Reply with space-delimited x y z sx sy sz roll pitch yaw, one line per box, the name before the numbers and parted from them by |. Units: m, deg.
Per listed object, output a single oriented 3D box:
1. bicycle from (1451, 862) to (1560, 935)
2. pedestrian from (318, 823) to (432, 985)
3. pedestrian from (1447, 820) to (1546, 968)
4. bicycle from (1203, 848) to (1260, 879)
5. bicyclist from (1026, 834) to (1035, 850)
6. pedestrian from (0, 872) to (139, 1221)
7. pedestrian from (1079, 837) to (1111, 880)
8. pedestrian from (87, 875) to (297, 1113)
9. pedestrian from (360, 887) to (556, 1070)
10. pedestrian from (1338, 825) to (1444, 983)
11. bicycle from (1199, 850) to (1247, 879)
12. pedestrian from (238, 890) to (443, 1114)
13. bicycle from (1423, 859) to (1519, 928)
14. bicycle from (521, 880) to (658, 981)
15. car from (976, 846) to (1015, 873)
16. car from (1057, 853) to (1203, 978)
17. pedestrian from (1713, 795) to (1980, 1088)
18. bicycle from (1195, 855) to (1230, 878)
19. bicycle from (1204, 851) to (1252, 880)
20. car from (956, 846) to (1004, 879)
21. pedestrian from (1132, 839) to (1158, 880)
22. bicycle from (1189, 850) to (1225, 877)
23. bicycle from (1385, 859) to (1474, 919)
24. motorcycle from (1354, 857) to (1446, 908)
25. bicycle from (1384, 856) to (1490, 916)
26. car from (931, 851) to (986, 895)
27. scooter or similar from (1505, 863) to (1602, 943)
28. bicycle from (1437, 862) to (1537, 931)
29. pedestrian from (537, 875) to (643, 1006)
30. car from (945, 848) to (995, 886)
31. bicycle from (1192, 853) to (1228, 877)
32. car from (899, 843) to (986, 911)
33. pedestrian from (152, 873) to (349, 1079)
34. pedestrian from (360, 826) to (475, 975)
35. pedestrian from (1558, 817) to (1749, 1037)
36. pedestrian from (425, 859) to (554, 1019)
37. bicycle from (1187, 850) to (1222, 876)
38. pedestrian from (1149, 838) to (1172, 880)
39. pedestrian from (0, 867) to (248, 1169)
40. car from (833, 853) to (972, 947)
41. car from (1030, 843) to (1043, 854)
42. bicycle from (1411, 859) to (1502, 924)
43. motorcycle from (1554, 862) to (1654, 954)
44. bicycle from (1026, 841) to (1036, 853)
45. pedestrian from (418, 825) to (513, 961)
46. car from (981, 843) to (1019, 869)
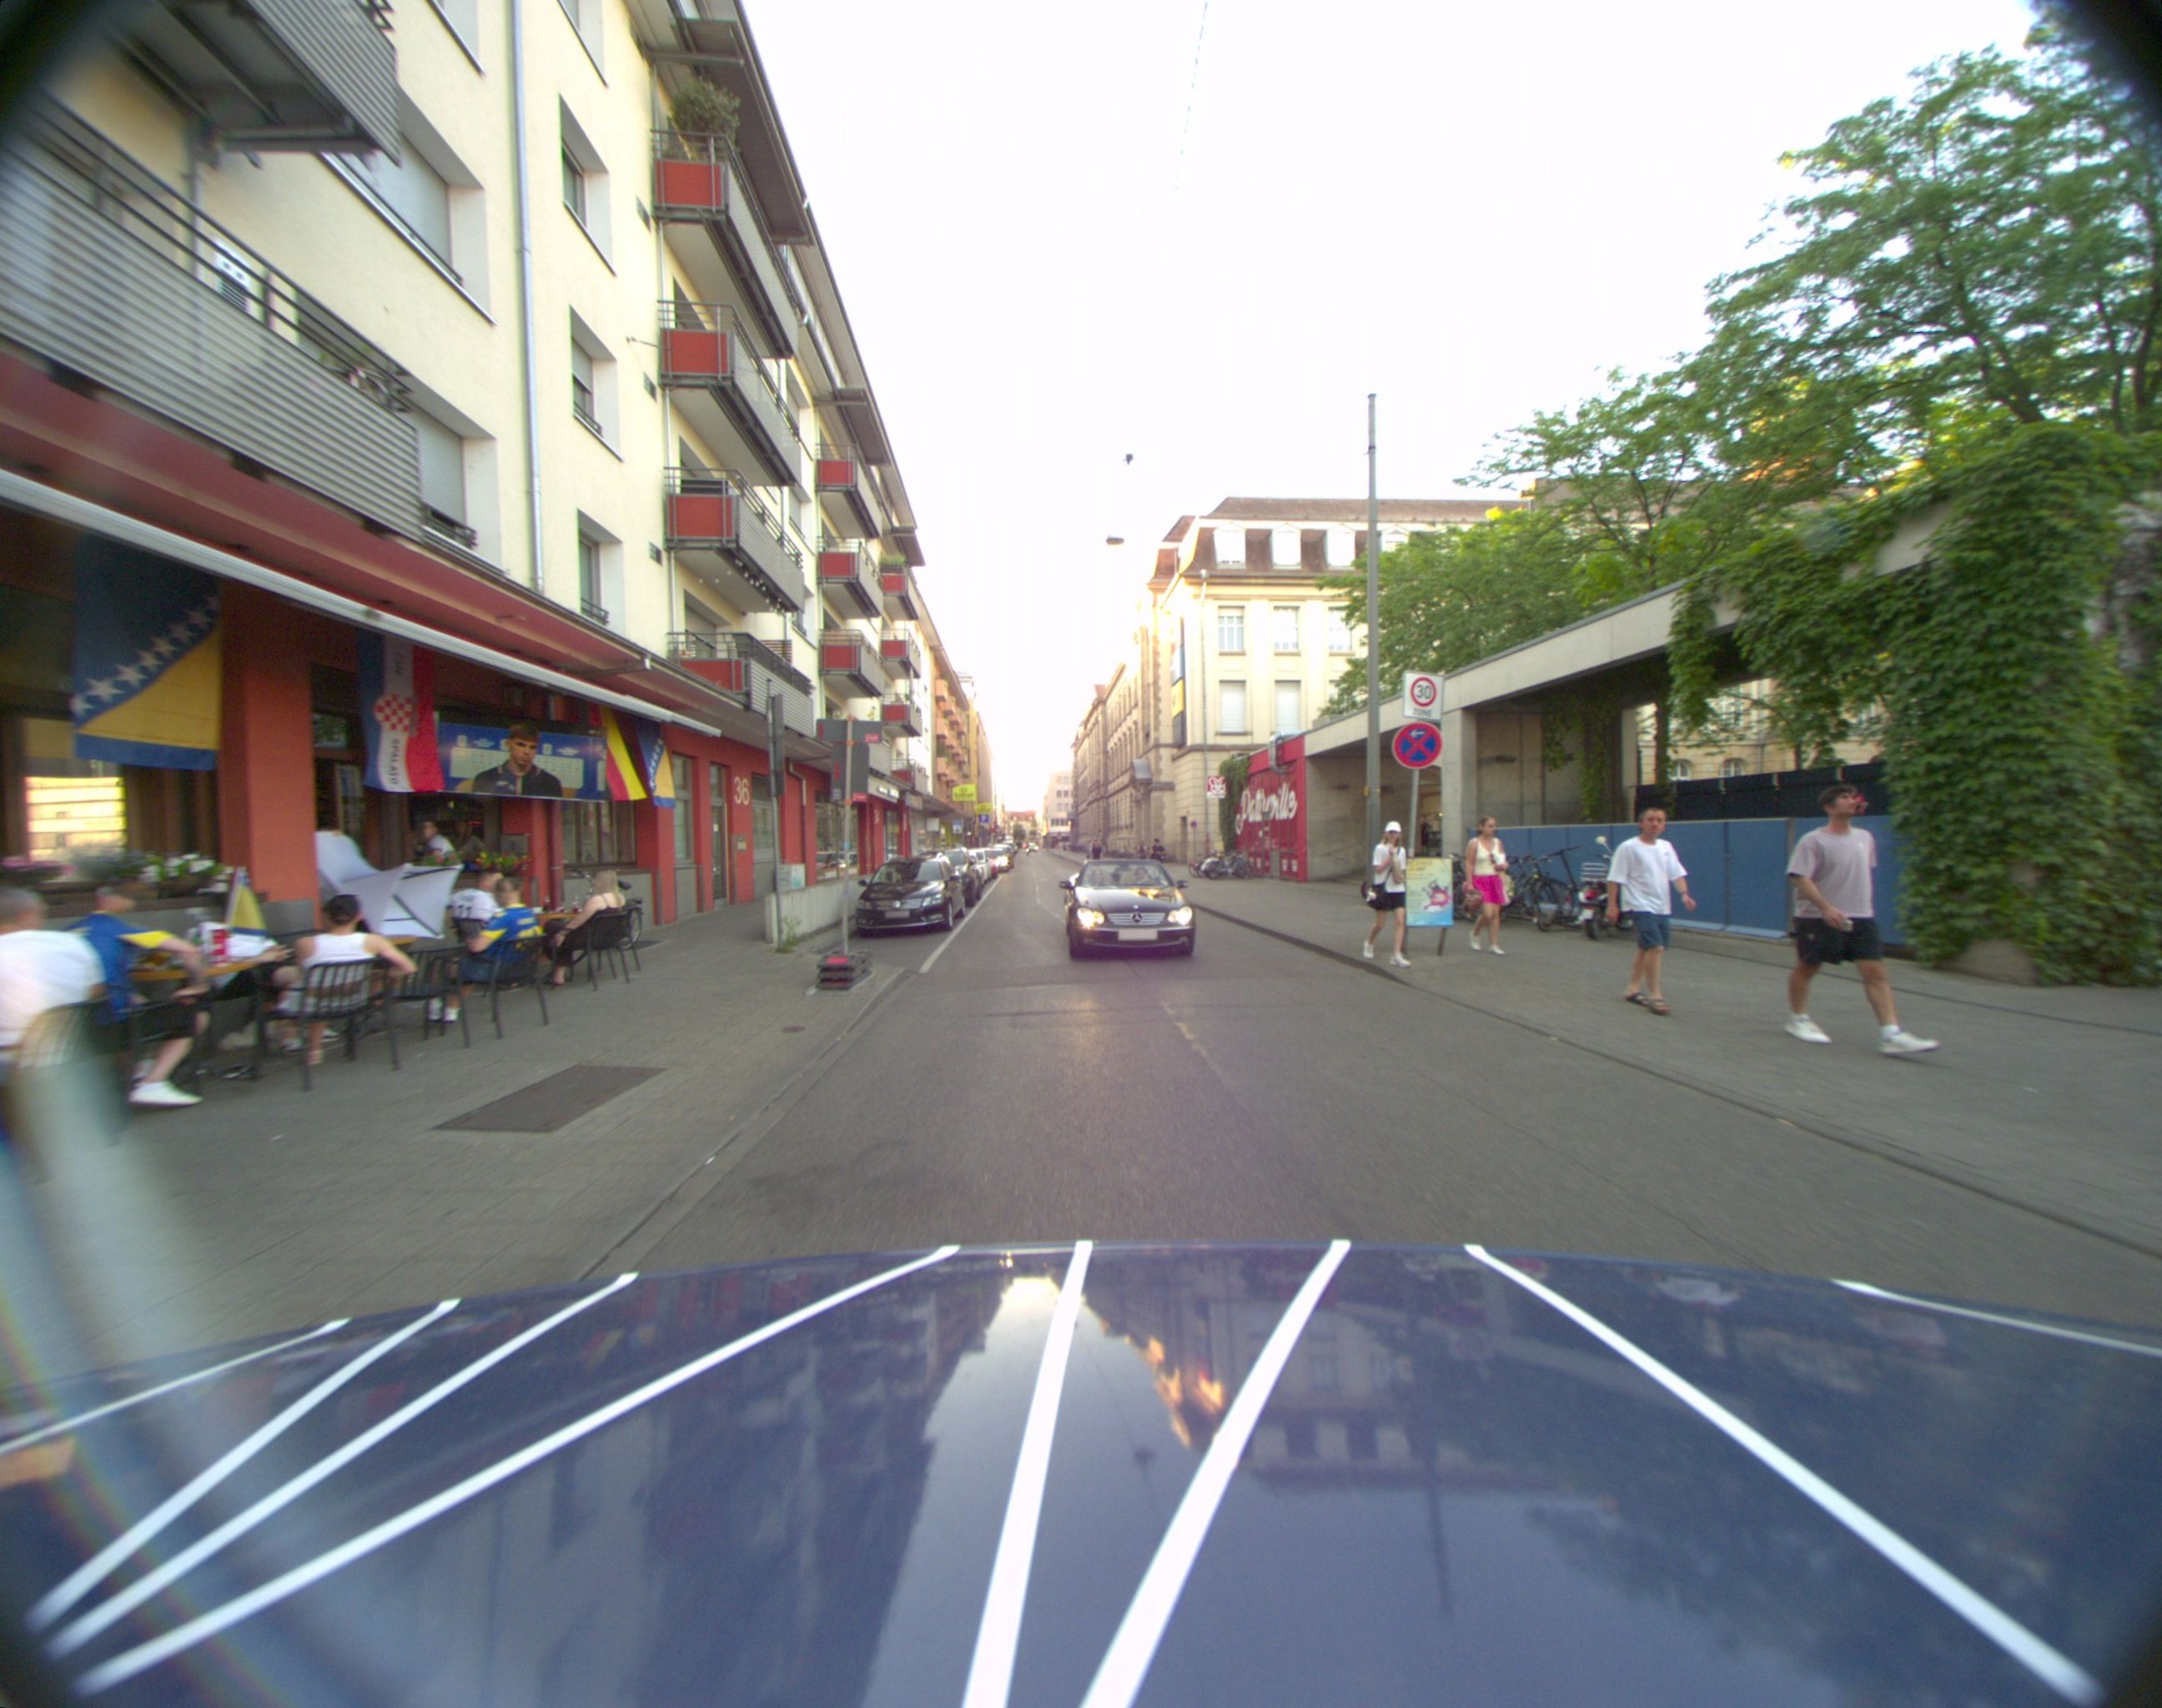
bicycle | 6.932 0.706 12.418 1.497 1.082 0.547 -3 1 -7
pedestrian | -7.871 0.536 8.502 0.612 1.729 0.617 -2 2 -5
pedestrian | 5.271 0.487 9.684 0.812 1.784 0.736 -2 1 -2
bicycle | 6.015 0.381 30.398 2.180 1.149 0.445 -2 1 2
bicyclist | -6.513 -1.582 97.824 1.045 2.002 1.182 -1 2 -2
pedestrian | -5.133 0.864 3.511 0.651 1.518 0.699 2 1 -8
pedestrian | 0.612 0.188 33.009 1.009 1.817 0.944 -3 2 -28
pedestrian | -5.716 0.861 4.925 0.667 1.426 0.560 0 1 -7
pedestrian | -5.025 0.952 6.183 0.876 1.298 0.854 1 2 16
pedestrian | 3.709 0.565 9.165 0.851 1.784 0.869 -2 1 -2
bicycle | 5.826 0.429 31.210 1.844 1.077 0.354 -2 1 2
pedestrian | -4.890 0.935 5.076 0.655 1.337 0.749 1 1 -7
bicycle | 6.811 0.684 13.275 1.497 1.105 0.410 -3 1 -7
bicycle | -6.362 0.937 9.979 0.550 1.081 2.004 -3 1 -4
car | -5.089 0.272 45.776 1.898 1.468 4.299 -2 1 -2
car | 0.537 0.755 11.699 1.809 1.400 4.614 0 2 -2
pedestrian | 5.365 0.566 5.395 0.984 1.873 0.890 -2 1 -2
bicycle | 5.732 0.537 33.131 1.501 0.950 0.312 -3 2 -12
bicycle | 5.930 0.457 30.763 1.844 1.077 0.354 -2 2 2
car | -4.990 0.391 38.097 1.867 1.468 4.393 -2 1 -2
pedestrian | 2.769 0.219 32.892 0.921 1.717 0.702 -2 2 -9
bicycle | 5.605 0.400 33.751 1.501 1.134 0.312 -3 2 -12
bicycle | 6.751 0.673 14.740 1.496 1.082 0.436 -2 1 3
motorcycle | 7.021 0.634 16.755 1.824 1.063 0.534 -2 2 25
bicycle | 7.147 0.635 15.281 1.872 1.081 0.550 -2 1 -2
car | -4.486 0.648 28.301 1.753 1.395 3.964 -3 1 -6
scooter or similar | 7.155 0.723 11.505 1.499 1.082 0.410 -3 2 -21
bicycle | 6.872 0.707 12.881 1.497 1.063 0.442 -3 1 -7
pedestrian | -5.321 0.903 8.289 0.854 1.271 0.712 -1 4 -26
car | -4.838 0.524 33.671 1.768 1.468 3.945 -2 1 -3
bicycle | 5.688 0.496 33.439 1.501 0.973 0.312 -3 2 -12
car | -3.848 0.573 21.771 1.884 1.690 4.135 -3 1 -3
pedestrian | -6.199 0.874 5.714 0.714 1.413 0.602 -3 1 -5
pedestrian | -7.957 0.531 9.143 0.718 1.711 0.668 -2 2 -5
pedestrian | 5.015 0.596 6.726 0.984 1.784 0.890 -2 1 -2
pedestrian | -6.110 0.832 7.904 0.854 1.527 0.713 -3 2 -26
bicycle | 5.564 0.408 34.094 1.501 1.070 0.312 -3 2 -12
pedestrian | 3.350 0.209 32.025 0.833 1.717 0.920 -1 2 2
pedestrian | -5.556 0.863 4.281 0.853 1.527 0.679 -3 1 -7
car | -3.512 0.823 15.881 1.879 1.543 4.629 -2 1 -2
car | -8.242 -0.986 141.200 1.998 2.002 3.999 -1 2 1
bicycle | 6.868 0.671 13.904 1.497 1.082 0.410 -3 1 -7
motorcycle | 7.413 0.714 10.735 1.832 1.120 0.535 -3 2 -35
bicycle | -6.436 -0.941 98.000 1.038 1.513 2.821 -1 2 1
pedestrian | -9.411 0.571 11.639 0.669 2.002 0.815 -1 2 6
car | -5.447 0.089 51.486 1.998 1.607 4.366 -2 1 1
